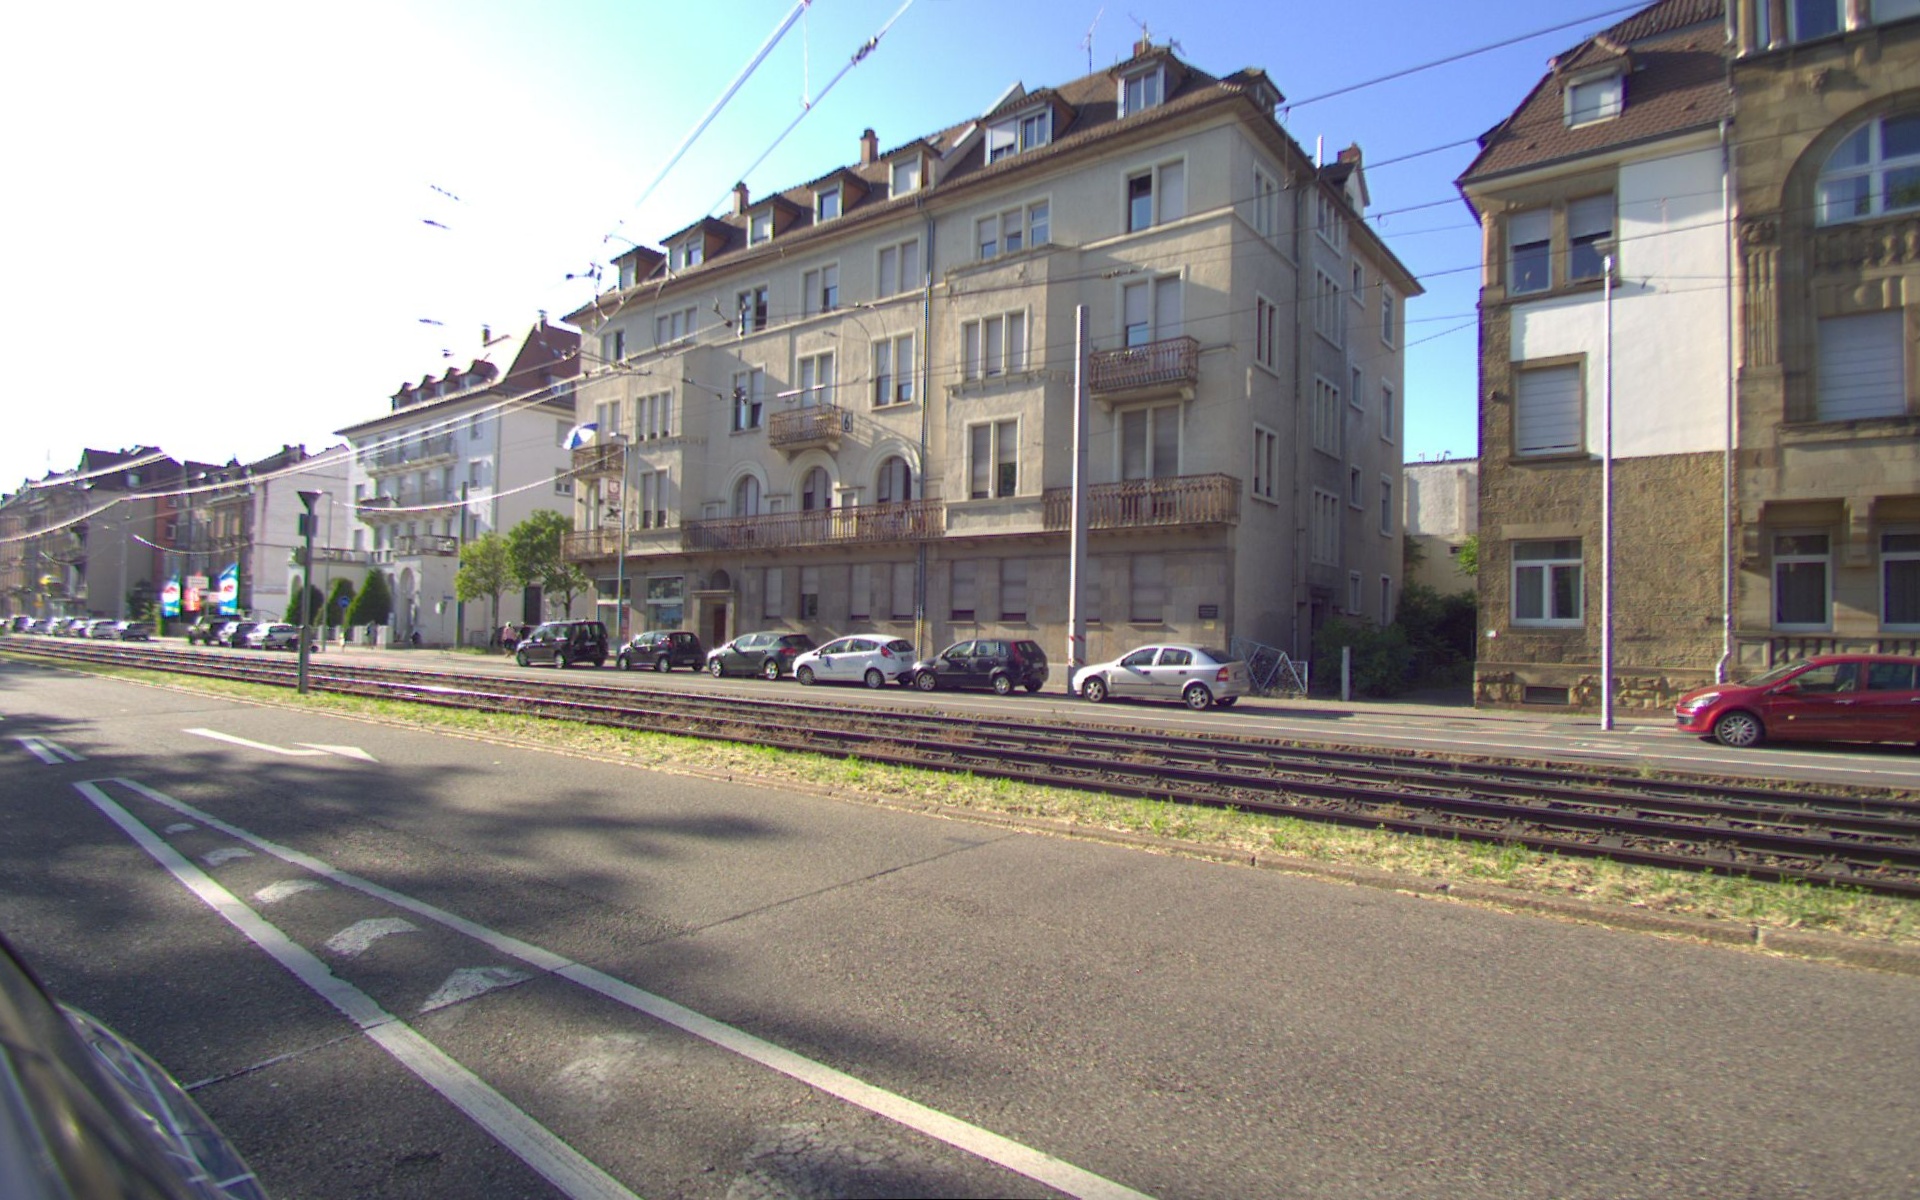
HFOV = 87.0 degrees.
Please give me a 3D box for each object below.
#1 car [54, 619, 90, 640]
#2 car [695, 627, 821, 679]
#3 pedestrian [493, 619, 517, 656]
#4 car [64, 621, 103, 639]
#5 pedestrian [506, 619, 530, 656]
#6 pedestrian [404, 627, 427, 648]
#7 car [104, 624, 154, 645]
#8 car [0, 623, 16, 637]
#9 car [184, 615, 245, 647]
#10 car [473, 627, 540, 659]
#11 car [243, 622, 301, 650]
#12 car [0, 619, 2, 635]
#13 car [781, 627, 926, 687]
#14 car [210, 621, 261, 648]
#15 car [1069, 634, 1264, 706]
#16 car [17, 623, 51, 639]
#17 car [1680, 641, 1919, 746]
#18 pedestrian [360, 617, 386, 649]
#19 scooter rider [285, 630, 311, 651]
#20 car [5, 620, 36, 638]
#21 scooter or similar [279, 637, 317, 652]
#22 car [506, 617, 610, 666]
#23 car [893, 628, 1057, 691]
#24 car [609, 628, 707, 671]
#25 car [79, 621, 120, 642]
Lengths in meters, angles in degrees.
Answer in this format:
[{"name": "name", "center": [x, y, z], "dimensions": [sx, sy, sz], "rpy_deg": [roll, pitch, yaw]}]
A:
[{"name": "car", "center": [-80.698, 2.673, 91.944], "dimensions": [4.495, 1.794, 1.901], "rpy_deg": [-1, -2, 41]}, {"name": "car", "center": [-6.472, 1.641, 32.270], "dimensions": [4.153, 1.480, 1.619], "rpy_deg": [-1, 0, 38]}, {"name": "pedestrian", "center": [-21.023, 1.724, 46.777], "dimensions": [0.845, 1.709, 0.591], "rpy_deg": [0, 0, 0]}, {"name": "car", "center": [-76.475, 2.617, 88.294], "dimensions": [4.839, 1.573, 1.900], "rpy_deg": [-2, -2, 41]}, {"name": "pedestrian", "center": [-20.700, 1.730, 47.421], "dimensions": [0.845, 1.709, 0.591], "rpy_deg": [0, 0, 0]}, {"name": "pedestrian", "center": [-32.193, 2.198, 59.819], "dimensions": [0.892, 1.196, 0.870], "rpy_deg": [0, 0, 31]}, {"name": "car", "center": [-64.770, 2.658, 78.818], "dimensions": [4.834, 1.471, 1.903], "rpy_deg": [-1, 2, 37]}, {"name": "car", "center": [-104.609, 3.287, 110.477], "dimensions": [3.976, 1.457, 1.643], "rpy_deg": [-1, -1, 39]}, {"name": "car", "center": [-49.325, 2.037, 66.943], "dimensions": [5.588, 2.025, 2.056], "rpy_deg": [-1, -1, 41]}, {"name": "car", "center": [-26.624, 2.494, 59.350], "dimensions": [4.257, 1.653, 1.777], "rpy_deg": [1, -2, 38]}, {"name": "car", "center": [-40.364, 2.087, 59.348], "dimensions": [3.997, 1.522, 1.776], "rpy_deg": [0, -1, 40]}, {"name": "car", "center": [-111.924, 3.125, 116.518], "dimensions": [3.993, 1.821, 1.777], "rpy_deg": [-1, -1, 37]}, {"name": "car", "center": [-3.074, 1.589, 29.079], "dimensions": [3.970, 1.479, 1.623], "rpy_deg": [-1, 2, 32]}, {"name": "car", "center": [-44.836, 2.089, 62.564], "dimensions": [4.156, 1.519, 1.618], "rpy_deg": [0, 0, 41]}, {"name": "car", "center": [4.699, 1.547, 23.367], "dimensions": [4.154, 1.480, 1.619], "rpy_deg": [-1, -2, 39]}, {"name": "car", "center": [-94.749, 3.162, 103.520], "dimensions": [4.622, 1.550, 1.902], "rpy_deg": [-1, -2, 39]}, {"name": "car", "center": [13.904, 1.434, 15.995], "dimensions": [4.025, 1.401, 1.818], "rpy_deg": [0, 0, 34]}, {"name": "pedestrian", "center": [-34.186, 1.915, 58.941], "dimensions": [0.929, 1.791, 0.986], "rpy_deg": [0, 0, 24]}, {"name": "scooter rider", "center": [-35.632, 2.188, 54.465], "dimensions": [0.962, 1.097, 0.810], "rpy_deg": [2, -3, -20]}, {"name": "car", "center": [-100.000, 3.076, 107.688], "dimensions": [4.721, 1.821, 1.644], "rpy_deg": [-1, -1, 37]}, {"name": "scooter or similar", "center": [-35.599, 2.388, 54.471], "dimensions": [1.542, 0.776, 0.810], "rpy_deg": [2, -3, -20]}, {"name": "car", "center": [-15.744, 1.605, 39.571], "dimensions": [4.395, 1.800, 1.845], "rpy_deg": [-1, -1, 38]}, {"name": "car", "center": [0.353, 1.522, 26.764], "dimensions": [4.148, 1.480, 1.622], "rpy_deg": [-1, 0, 34]}, {"name": "car", "center": [-10.833, 1.742, 36.216], "dimensions": [3.503, 1.401, 1.612], "rpy_deg": [-1, 0, 38]}, {"name": "car", "center": [-72.014, 2.577, 84.679], "dimensions": [4.839, 1.707, 1.901], "rpy_deg": [-1, -2, 41]}]
